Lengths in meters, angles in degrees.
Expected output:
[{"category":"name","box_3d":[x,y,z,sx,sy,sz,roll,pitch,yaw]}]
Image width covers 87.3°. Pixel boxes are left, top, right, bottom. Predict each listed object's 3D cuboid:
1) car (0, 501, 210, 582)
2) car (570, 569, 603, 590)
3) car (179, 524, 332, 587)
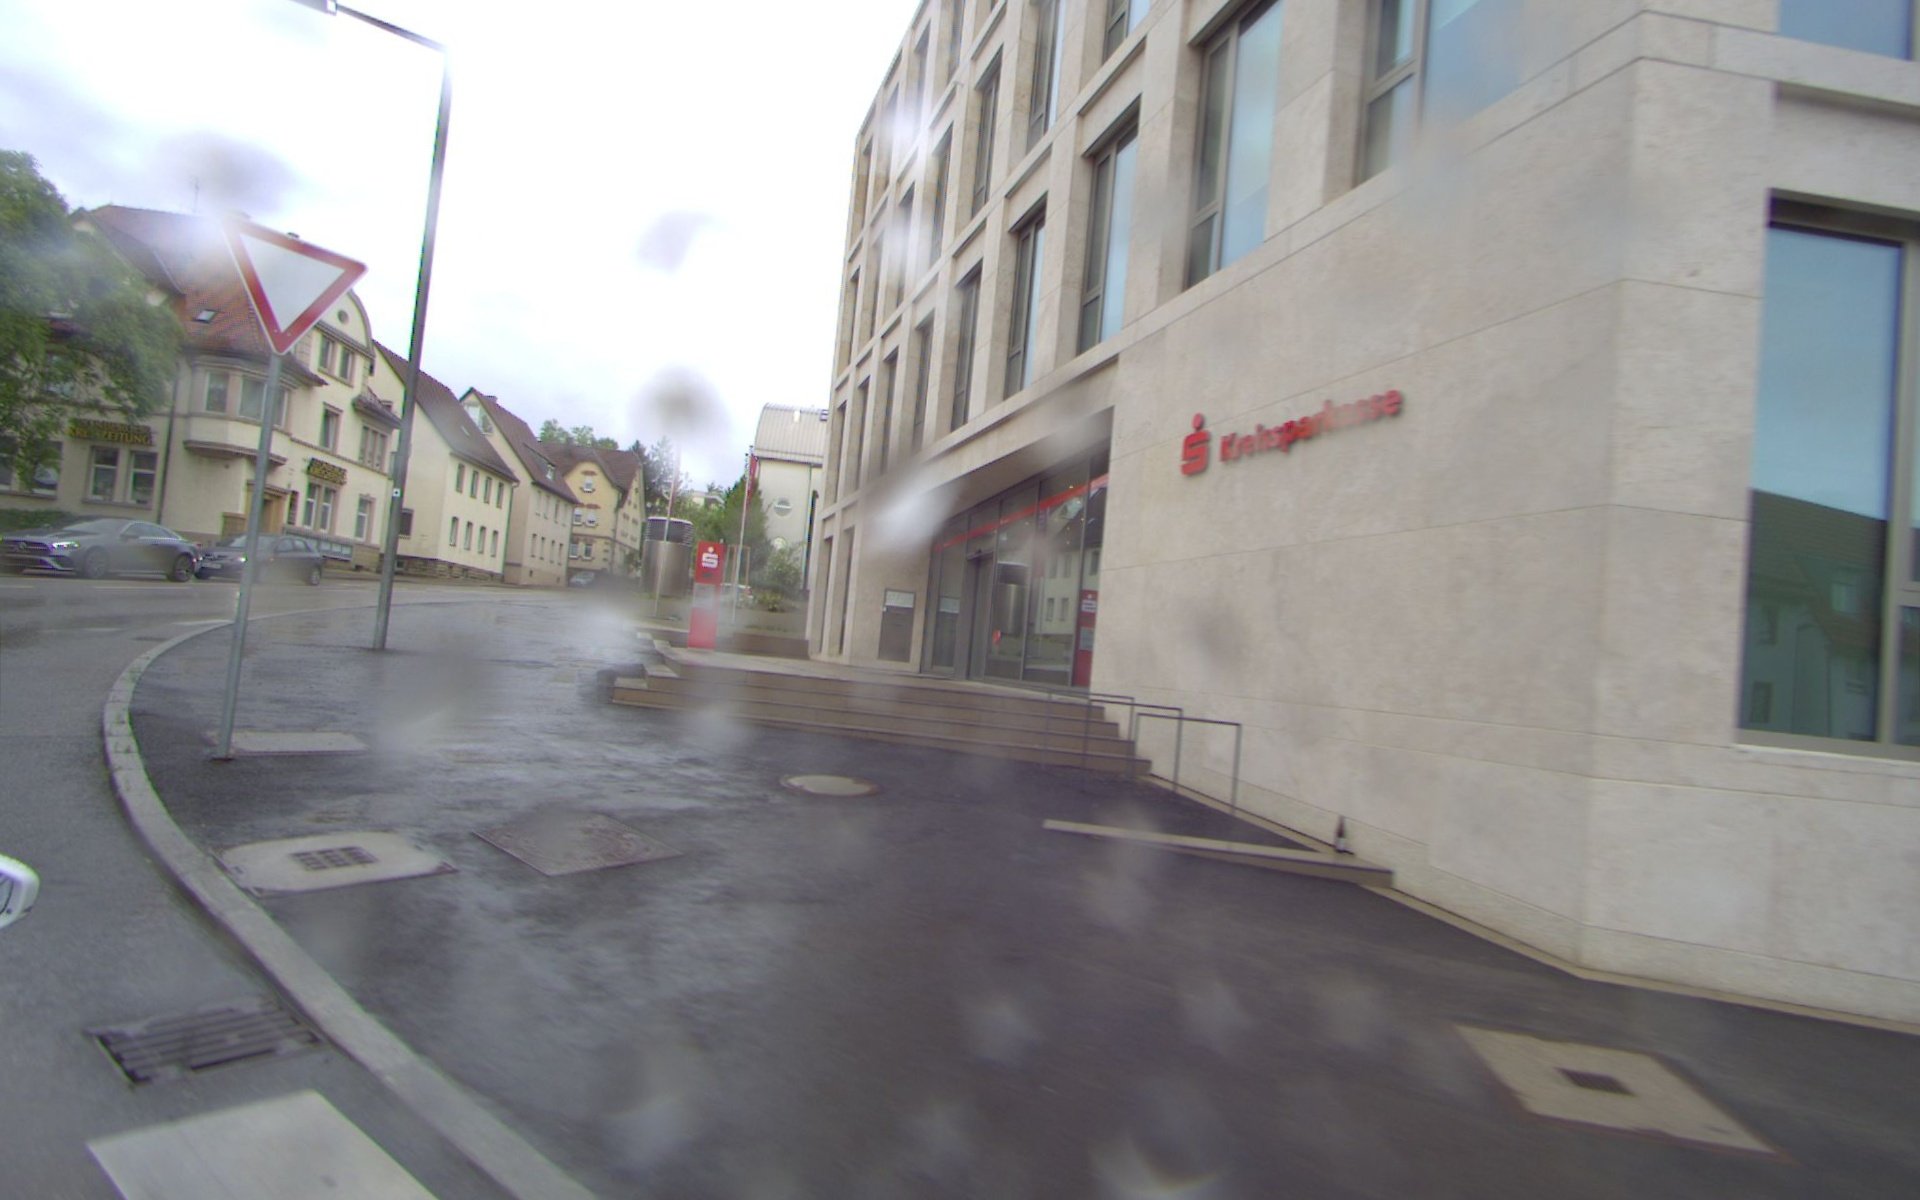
[{"category":"car","box_3d":[-19.622,-1.270,23.028,1.746,1.470,4.536,4,-1,-6]},{"category":"car","box_3d":[-32.056,-1.721,86.451,1.666,1.471,3.230,7,-1,-4]},{"category":"car","box_3d":[-20.256,-1.228,29.157,1.746,1.470,4.182,4,-1,-6]}]
